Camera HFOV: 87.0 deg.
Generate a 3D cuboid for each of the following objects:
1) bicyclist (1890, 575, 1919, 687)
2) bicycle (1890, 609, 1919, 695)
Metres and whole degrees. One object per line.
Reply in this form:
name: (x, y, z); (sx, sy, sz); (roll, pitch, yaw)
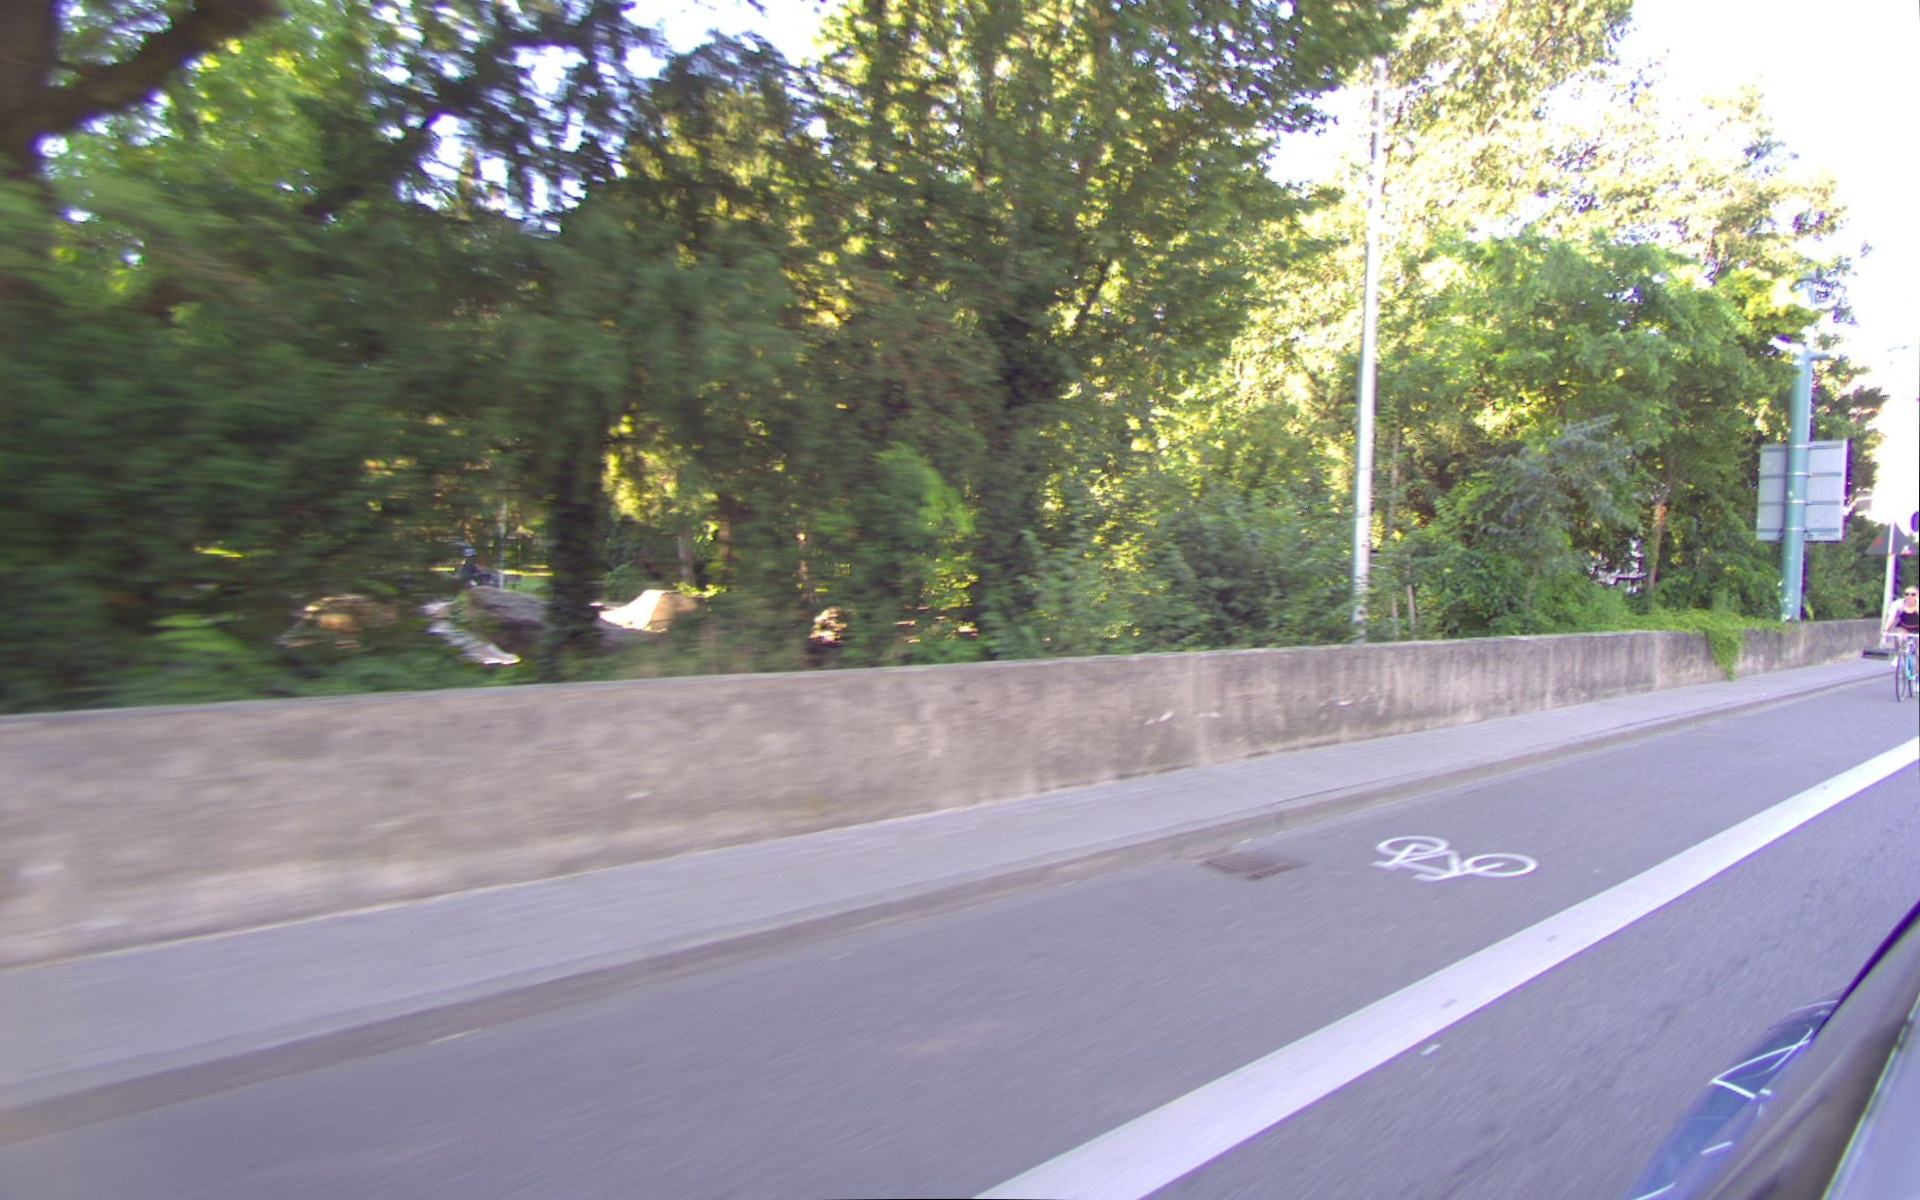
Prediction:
bicyclist: (13.400, 0.426, 14.012); (1.061, 1.509, 0.554); (1, 2, -39)
bicycle: (13.390, 0.693, 13.985); (1.809, 1.111, 0.522); (0, 0, -39)
